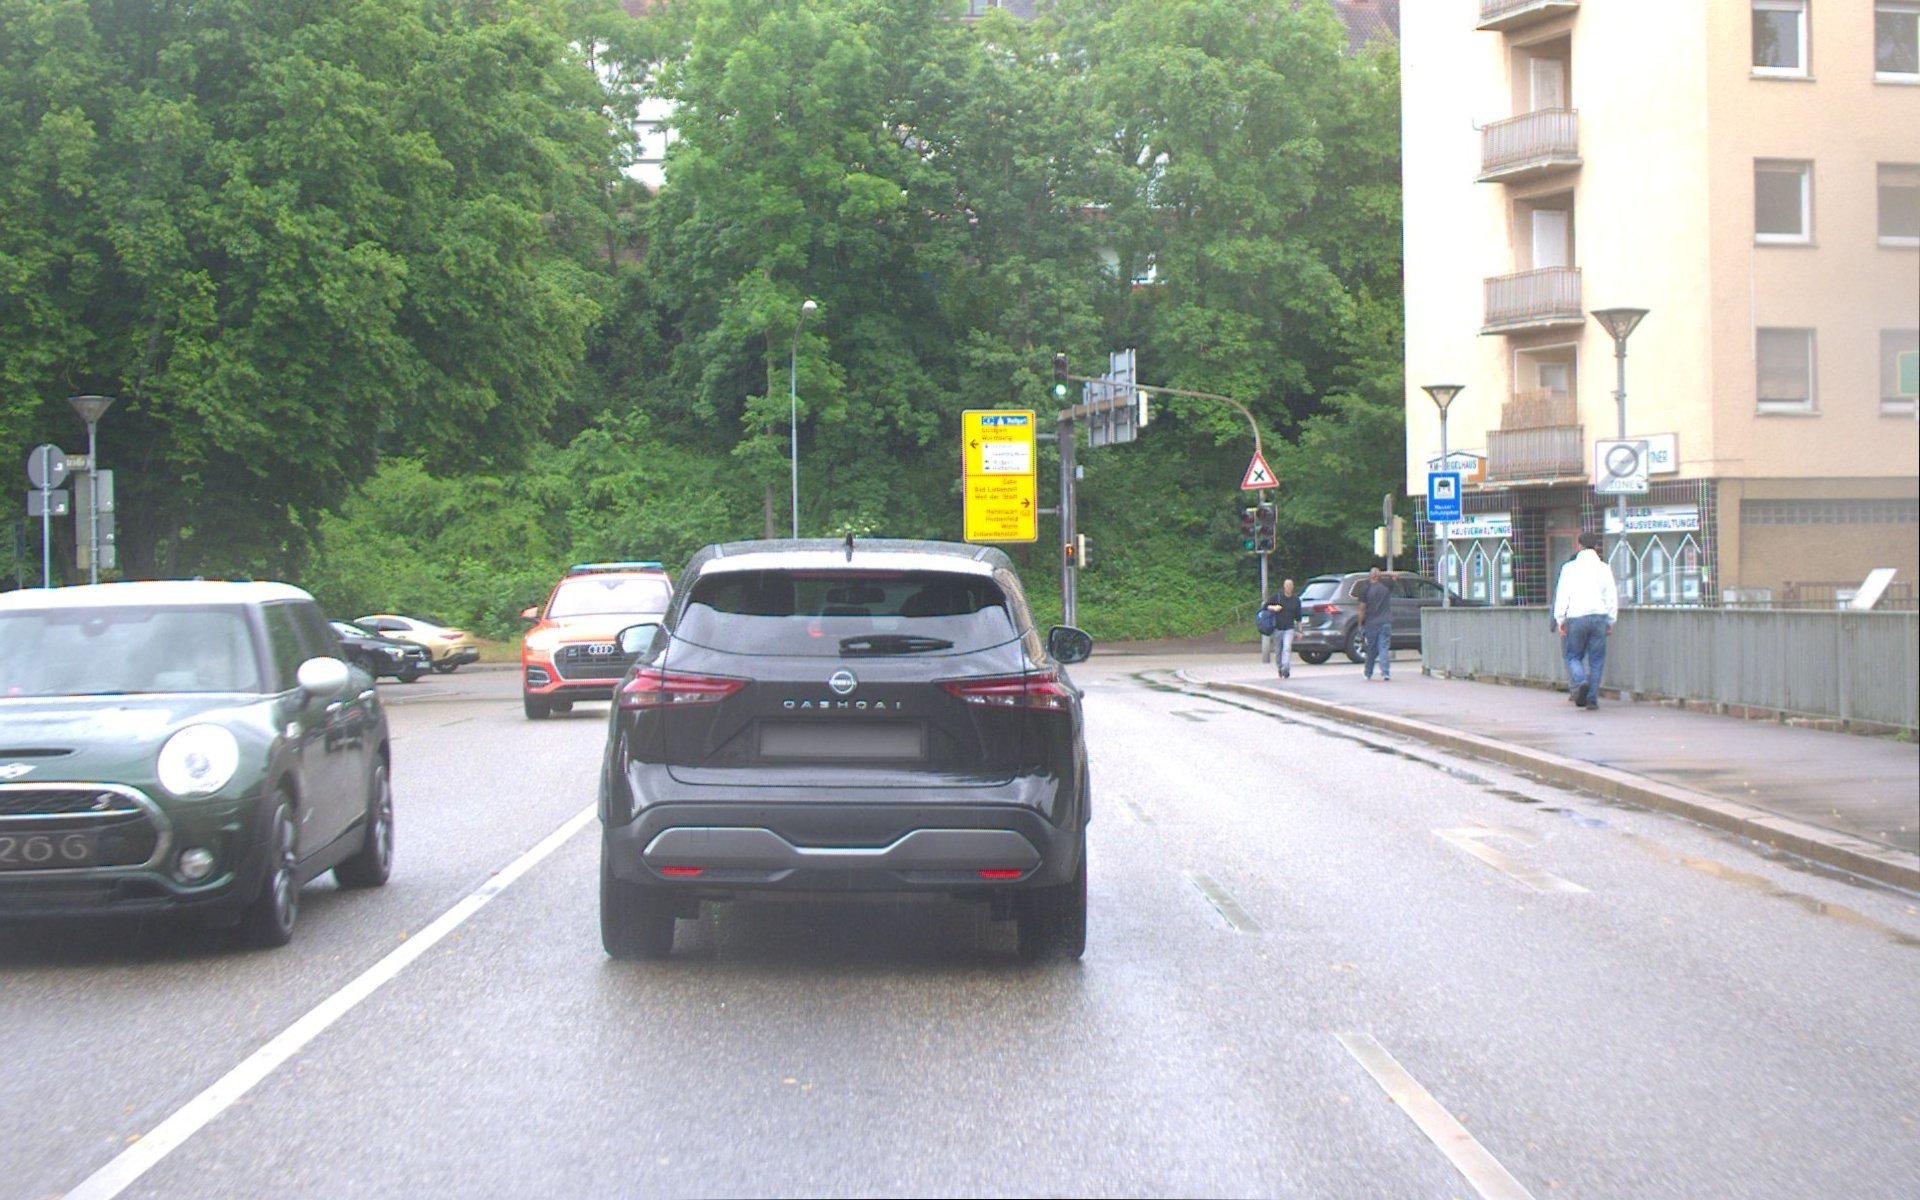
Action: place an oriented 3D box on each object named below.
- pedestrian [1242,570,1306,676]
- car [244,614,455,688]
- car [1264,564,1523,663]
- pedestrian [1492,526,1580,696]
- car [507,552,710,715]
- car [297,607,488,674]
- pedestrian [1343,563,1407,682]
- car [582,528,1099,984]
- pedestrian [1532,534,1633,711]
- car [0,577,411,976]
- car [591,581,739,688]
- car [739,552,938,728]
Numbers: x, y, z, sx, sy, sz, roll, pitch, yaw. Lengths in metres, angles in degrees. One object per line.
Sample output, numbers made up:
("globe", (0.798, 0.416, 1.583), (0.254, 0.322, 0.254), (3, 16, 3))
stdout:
("pedestrian", (4.898, 0.349, 53.693), (0.862, 1.613, 0.839), (-2, 0, -1))
("car", (-13.121, 1.094, 73.978), (4.082, 1.411, 1.714), (-2, 0, 10))
("car", (8.011, 0.242, 63.507), (4.366, 1.643, 1.884), (-2, 0, -26))
("pedestrian", (6.245, 0.118, 37.314), (0.761, 1.803, 0.781), (-2, 0, -1))
("car", (-4.022, 0.341, 39.942), (1.888, 1.729, 4.371), (-2, 1, 0))
("car", (-13.436, 0.957, 81.482), (4.082, 1.411, 1.714), (-2, 0, 10))
("pedestrian", (6.004, 0.316, 49.772), (0.761, 1.671, 0.781), (-3, 1, -1))
("car", (-0.451, 0.544, 14.095), (1.811, 1.597, 4.000), (0, 0, -1))
("pedestrian", (6.291, 0.223, 34.796), (0.779, 1.746, 1.061), (-1, 0, -1))
("car", (-3.530, 0.645, 14.630), (1.745, 1.434, 4.000), (-1, 1, 0))
("car", (-4.244, 0.469, 50.019), (1.781, 1.397, 4.219), (-2, 1, 0))
("car", (-1.146, 0.340, 33.546), (1.811, 1.597, 4.000), (1, 1, -1))
